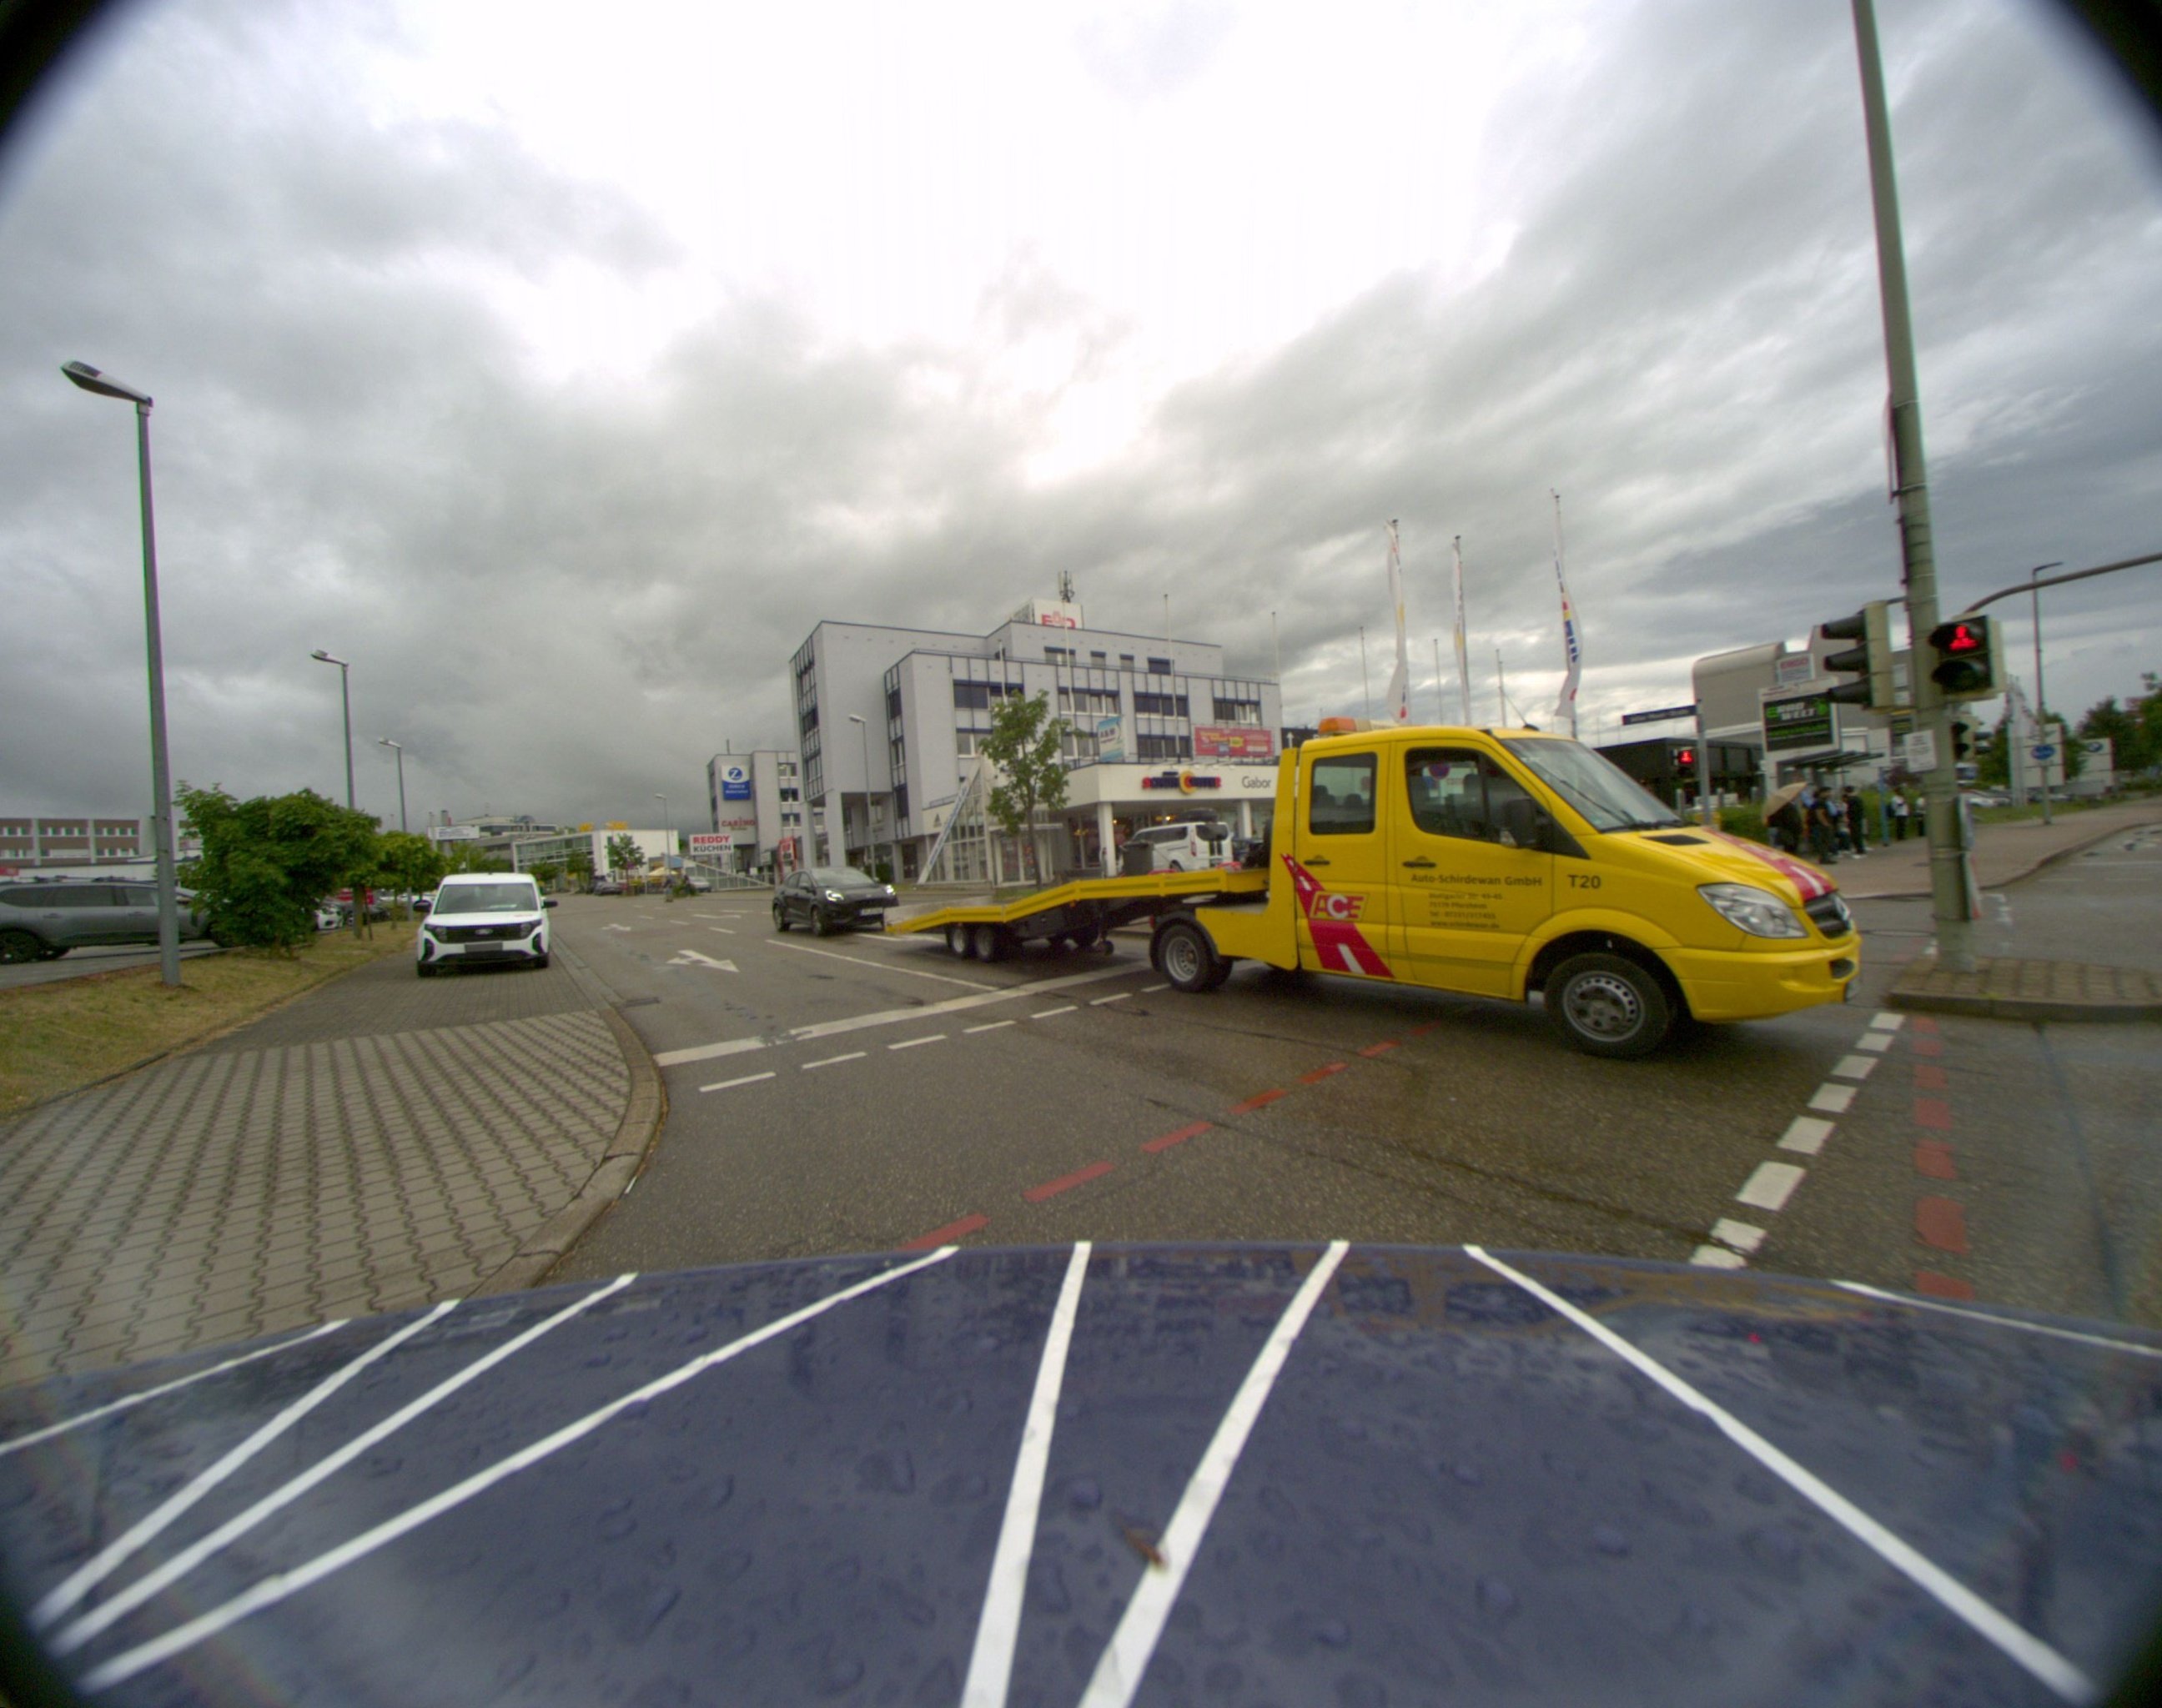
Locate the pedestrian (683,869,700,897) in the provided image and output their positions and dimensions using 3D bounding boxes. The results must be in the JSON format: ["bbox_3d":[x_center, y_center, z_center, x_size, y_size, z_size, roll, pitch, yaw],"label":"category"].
[{"bbox_3d":[-25.630,1.907,49.998,0.645,1.733,0.588,-4,1,-3],"label":"pedestrian"}]

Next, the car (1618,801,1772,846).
[{"bbox_3d":[23.128,-1.106,28.782,1.902,1.386,4.117,-4,1,-32],"label":"car"}]

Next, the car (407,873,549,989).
[{"bbox_3d":[-11.134,1.301,14.265,1.802,1.772,4.239,-2,-1,-36],"label":"car"}]

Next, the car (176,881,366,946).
[{"bbox_3d":[-28.049,1.981,26.548,4.192,1.765,1.877,-4,1,-38],"label":"car"}]

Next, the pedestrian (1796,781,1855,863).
[{"bbox_3d":[17.384,-0.739,17.751,0.698,1.847,0.814,-6,4,-31],"label":"pedestrian"}]

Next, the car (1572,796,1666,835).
[{"bbox_3d":[31.457,-2.222,44.558,1.913,2.002,3.991,-4,1,-29],"label":"car"}]

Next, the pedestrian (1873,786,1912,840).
[{"bbox_3d":[26.666,-1.340,24.963,0.698,1.701,0.700,-4,1,-31],"label":"pedestrian"}]

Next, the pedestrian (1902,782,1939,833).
[{"bbox_3d":[29.144,-1.602,26.380,0.698,1.701,0.713,-4,1,-31],"label":"pedestrian"}]

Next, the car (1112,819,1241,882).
[{"bbox_3d":[3.327,-0.070,27.429,2.003,2.002,4.777,-4,1,-31],"label":"car"}]

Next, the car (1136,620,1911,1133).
[{"bbox_3d":[3.020,0.111,6.305,2.250,2.460,5.002,-4,1,-37],"label":"car"}]

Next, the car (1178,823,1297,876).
[{"bbox_3d":[5.932,-0.130,29.332,1.899,1.809,4.365,-4,1,-32],"label":"car"}]

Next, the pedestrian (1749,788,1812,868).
[{"bbox_3d":[16.050,-0.601,17.451,0.814,1.765,0.698,-3,3,15],"label":"pedestrian"}]

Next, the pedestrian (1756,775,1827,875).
[{"bbox_3d":[14.835,-0.597,15.883,0.814,2.002,0.698,-3,2,15],"label":"pedestrian"}]

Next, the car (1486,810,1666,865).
[{"bbox_3d":[14.710,-0.436,22.825,1.826,1.386,4.118,-4,1,-28],"label":"car"}]

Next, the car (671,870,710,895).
[{"bbox_3d":[-27.704,2.025,53.816,1.827,1.601,3.990,-4,1,-35],"label":"car"}]

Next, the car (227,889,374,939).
[{"bbox_3d":[-30.520,2.291,29.882,3.751,1.505,1.731,-5,1,-39],"label":"car"}]

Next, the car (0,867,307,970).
[{"bbox_3d":[-20.288,1.314,16.577,4.510,1.730,1.888,-4,1,-40],"label":"car"}]

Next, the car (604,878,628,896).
[{"bbox_3d":[-48.849,3.442,79.795,1.805,1.663,3.659,-5,1,-35],"label":"car"}]

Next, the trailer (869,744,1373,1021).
[{"bbox_3d":[-0.252,0.280,10.590,2.315,2.460,7.951,-4,1,-37],"label":"trailer"}]

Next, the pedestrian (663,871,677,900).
[{"bbox_3d":[-24.518,1.873,45.331,0.552,1.698,0.518,-5,2,-34],"label":"pedestrian"}]

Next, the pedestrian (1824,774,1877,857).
[{"bbox_3d":[19.274,-0.956,19.038,0.698,2.002,0.740,-4,1,-31],"label":"pedestrian"}]

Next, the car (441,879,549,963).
[{"bbox_3d":[-14.325,1.544,18.770,1.827,1.698,3.990,-4,1,-35],"label":"car"}]

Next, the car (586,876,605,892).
[{"bbox_3d":[-58.158,3.596,91.030,1.570,1.807,3.897,-5,1,-35],"label":"car"}]

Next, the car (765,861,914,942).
[{"bbox_3d":[-5.740,1.066,17.743,1.817,1.532,3.990,-6,2,-40],"label":"car"}]
